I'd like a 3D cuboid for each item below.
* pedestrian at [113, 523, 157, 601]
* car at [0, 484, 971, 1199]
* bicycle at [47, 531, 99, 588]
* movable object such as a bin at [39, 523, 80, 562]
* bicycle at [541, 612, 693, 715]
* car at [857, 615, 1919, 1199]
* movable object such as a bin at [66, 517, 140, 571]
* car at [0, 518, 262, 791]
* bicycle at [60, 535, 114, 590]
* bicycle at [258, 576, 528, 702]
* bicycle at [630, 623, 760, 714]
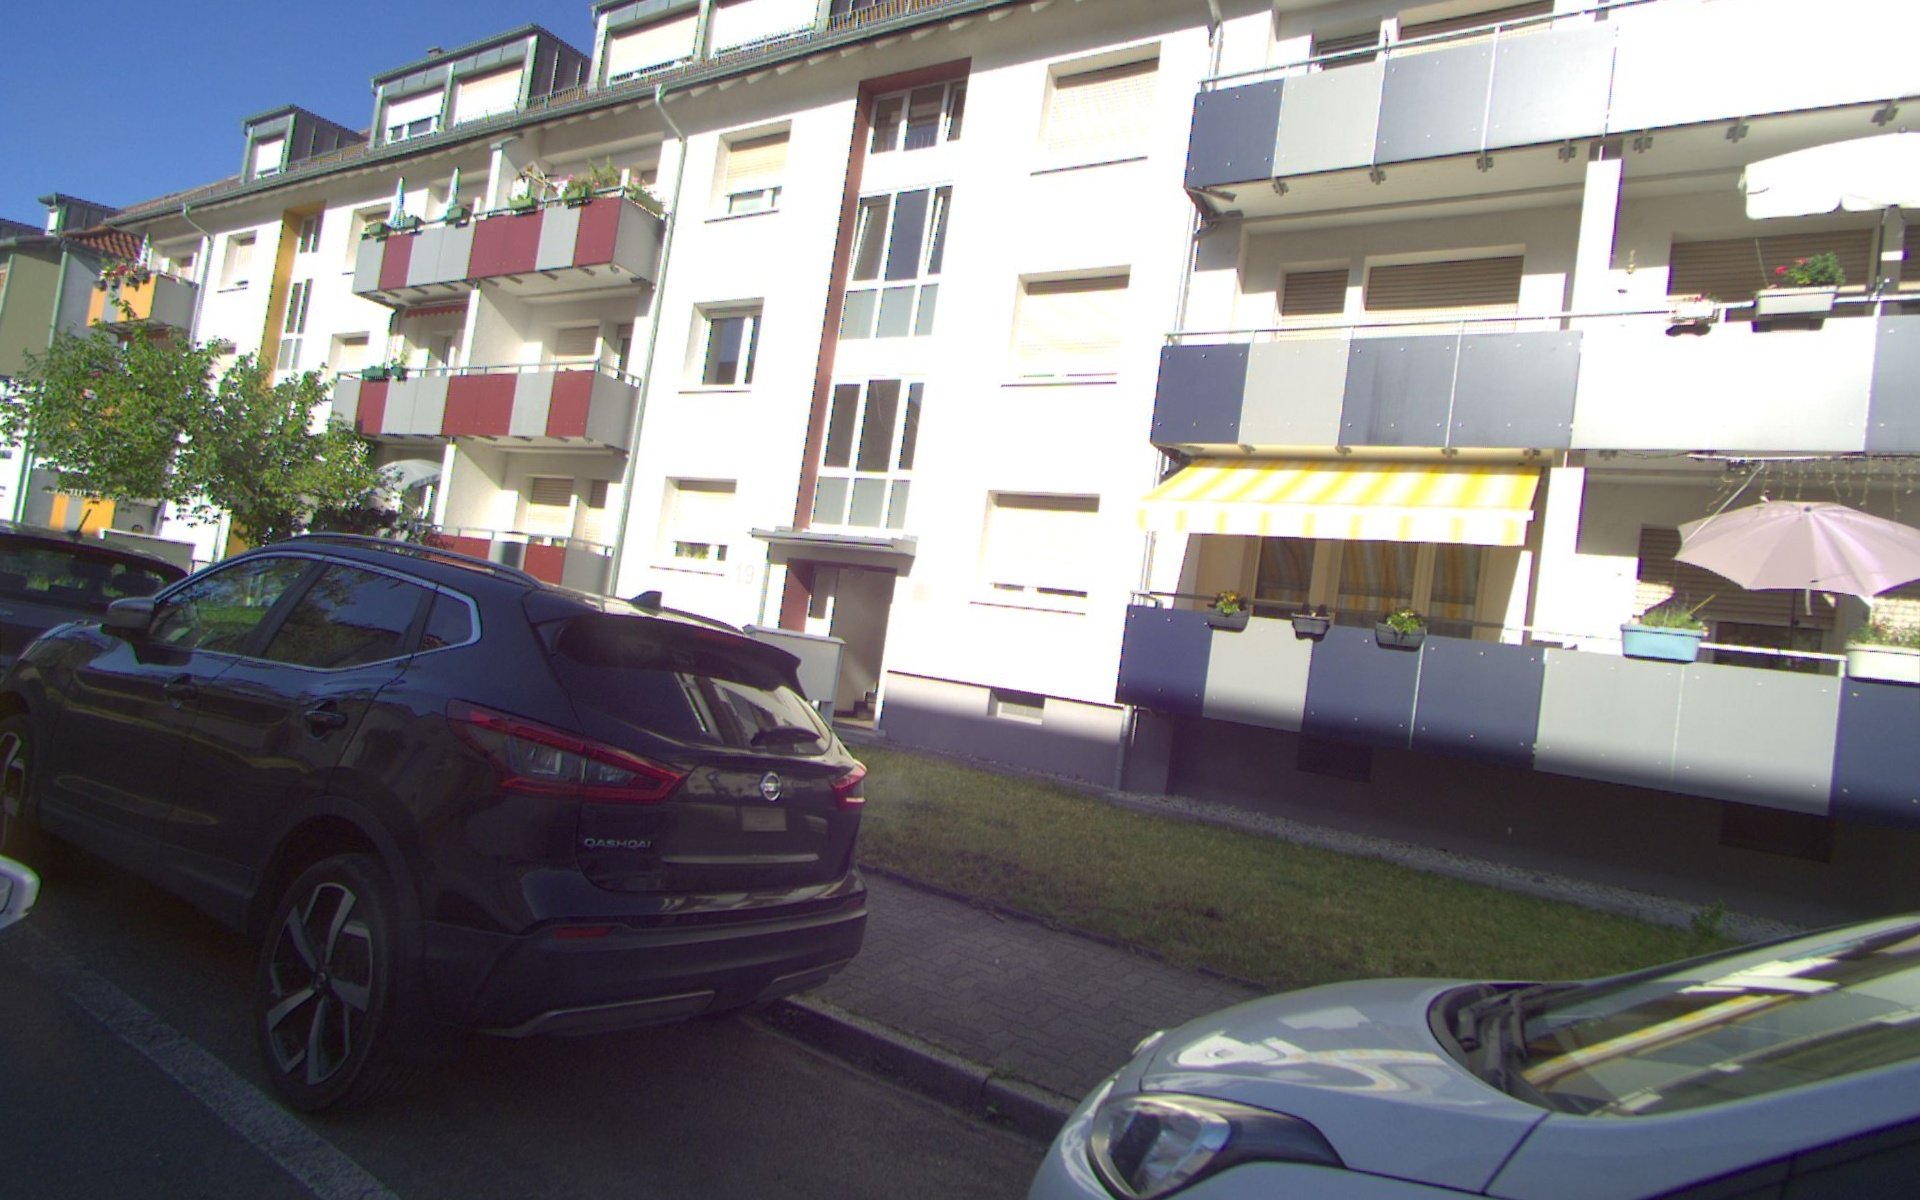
[{"bbox_3d":[-16.740,-0.776,20.415,0.354,1.511,0.451,5,-2,32],"label":"pedestrian"},{"bbox_3d":[-2.314,0.560,4.080,4.280,1.596,1.727,7,-2,31],"label":"car"},{"bbox_3d":[-19.475,-0.901,22.088,1.278,1.099,0.404,7,-1,32],"label":"bicycle"},{"bbox_3d":[-26.638,-1.695,29.764,0.745,1.046,0.644,4,-2,32],"label":"movable object such as a bin"},{"bbox_3d":[-4.623,0.826,13.469,2.250,1.061,0.521,7,0,32],"label":"bicycle"},{"bbox_3d":[1.896,1.111,1.383,3.789,1.524,1.720,7,-6,31],"label":"car"},{"bbox_3d":[-26.045,-1.706,30.577,1.088,1.423,1.330,4,-3,32],"label":"movable object such as a bin"},{"bbox_3d":[-6.657,0.173,6.834,3.996,1.464,1.651,6,-5,34],"label":"car"},{"bbox_3d":[-18.735,-0.796,21.596,0.235,1.059,0.741,7,-1,33],"label":"bicycle"},{"bbox_3d":[-6.337,0.487,11.415,0.866,1.143,2.426,7,-2,37],"label":"bicycle"},{"bbox_3d":[-3.847,0.978,14.530,1.942,1.049,0.521,7,-1,32],"label":"bicycle"}]
